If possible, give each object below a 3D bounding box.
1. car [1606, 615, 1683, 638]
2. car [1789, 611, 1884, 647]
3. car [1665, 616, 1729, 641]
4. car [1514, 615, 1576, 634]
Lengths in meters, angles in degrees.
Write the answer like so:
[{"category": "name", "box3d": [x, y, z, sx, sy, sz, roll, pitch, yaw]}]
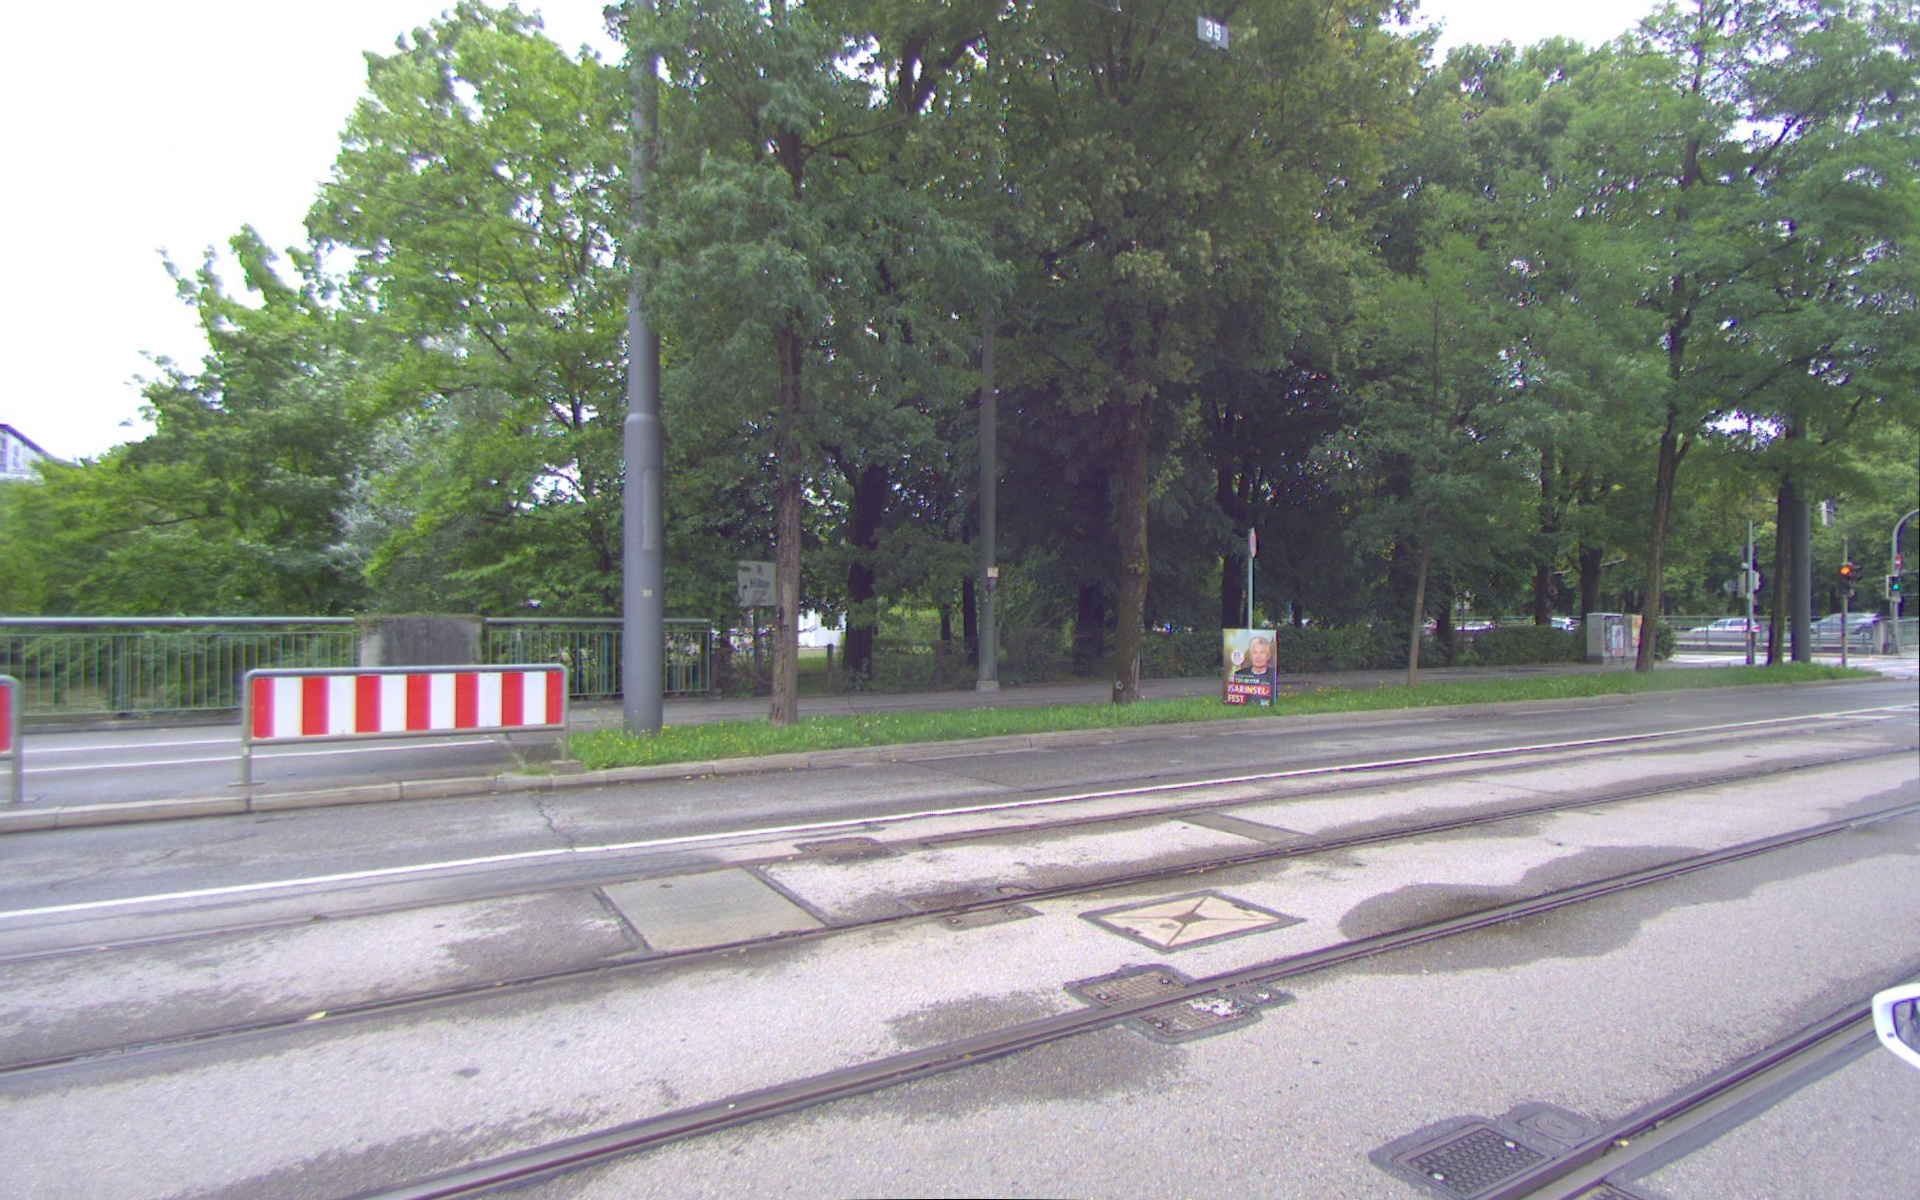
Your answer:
[{"category": "car", "box3d": [46.058, 1.768, 67.627, 1.703, 1.423, 3.900, 1, 1, -34]}, {"category": "car", "box3d": [51.583, 1.696, 59.188, 1.476, 1.912, 3.994, 1, 1, -36]}, {"category": "car", "box3d": [47.637, 1.808, 64.977, 1.238, 1.471, 3.090, 1, 1, -34]}, {"category": "car", "box3d": [42.537, 1.789, 73.106, 1.238, 1.201, 3.704, 1, 1, -34]}]
